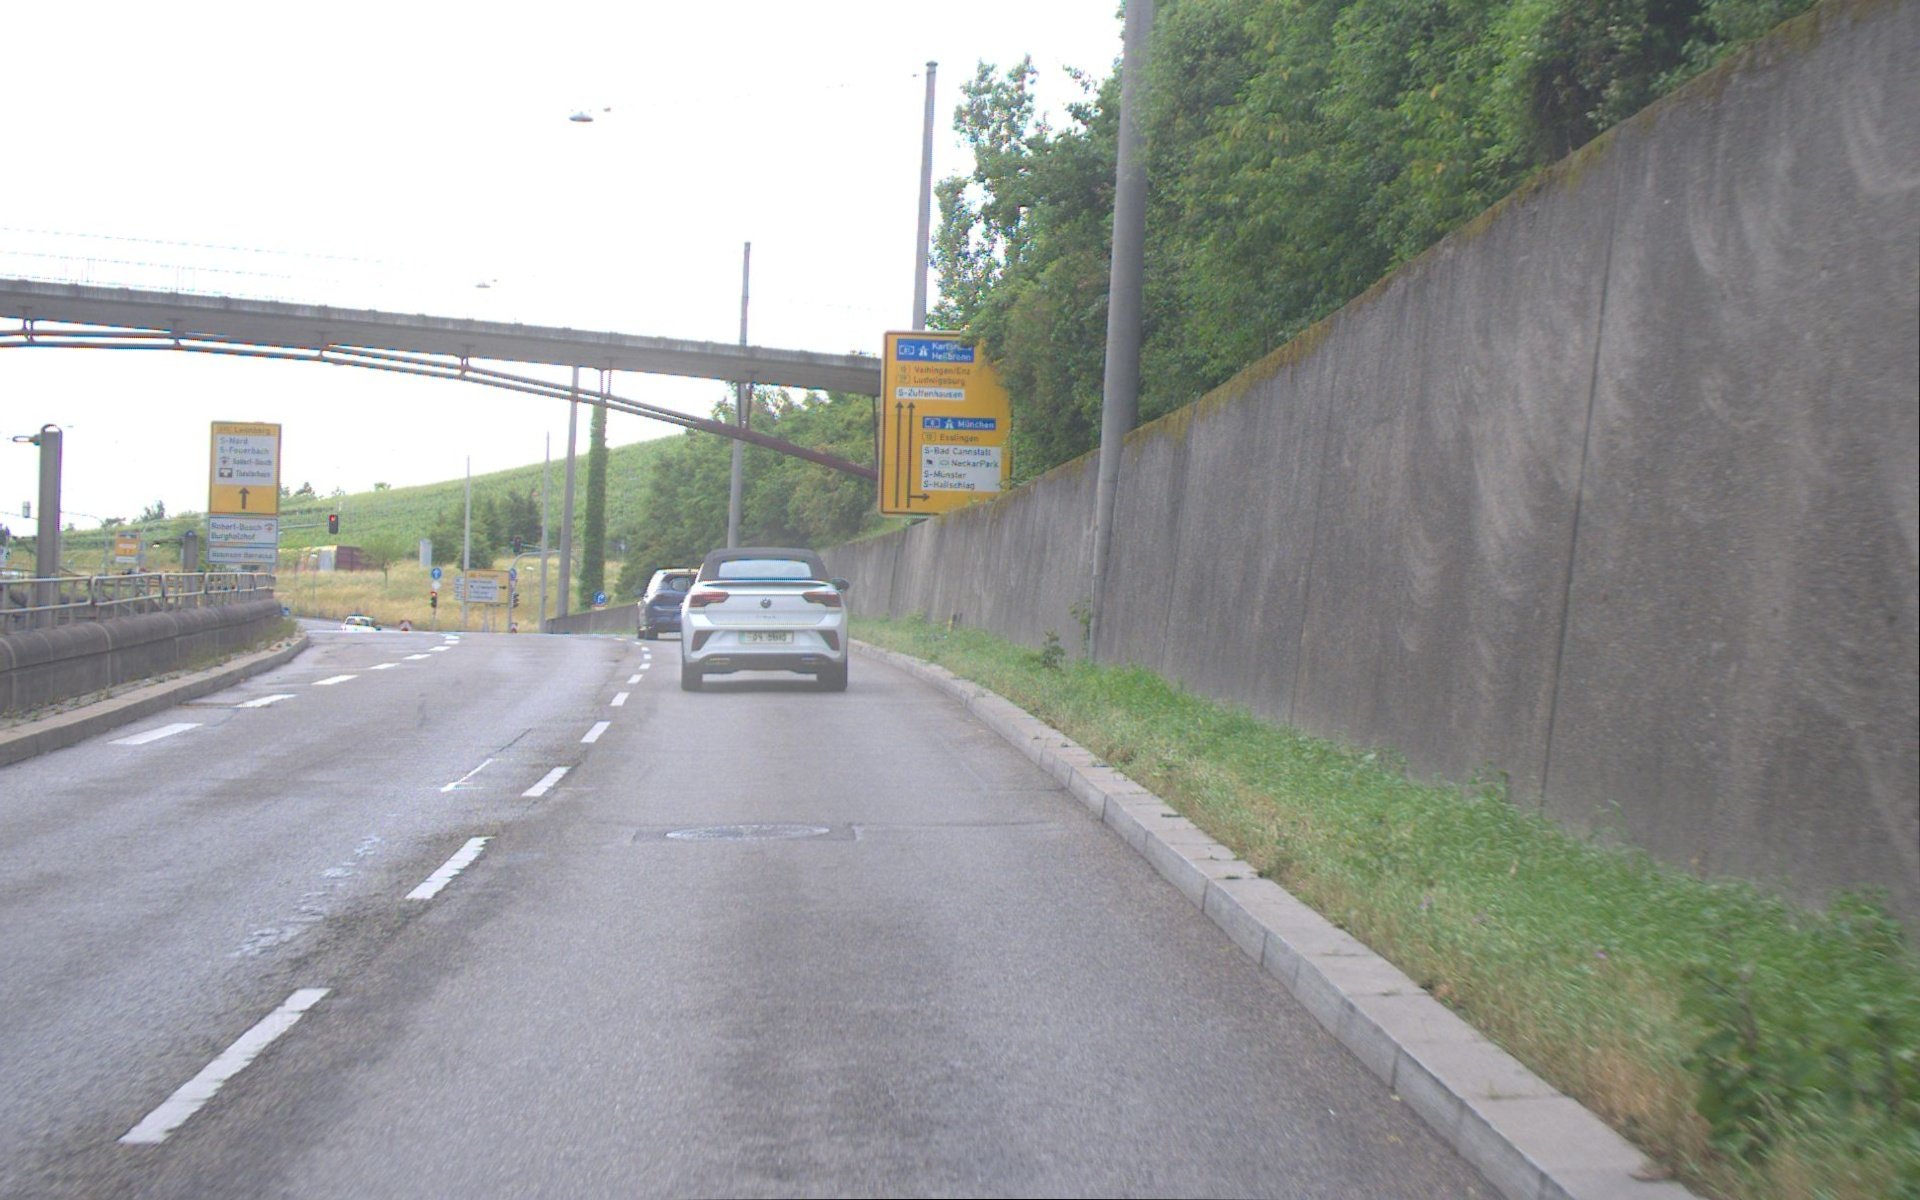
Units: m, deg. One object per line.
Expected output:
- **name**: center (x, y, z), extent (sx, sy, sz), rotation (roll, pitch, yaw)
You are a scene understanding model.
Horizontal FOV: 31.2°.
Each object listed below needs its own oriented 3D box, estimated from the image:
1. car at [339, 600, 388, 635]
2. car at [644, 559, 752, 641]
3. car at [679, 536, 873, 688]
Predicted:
- **car**: center (-29.055, 0.849, 167.521), extent (1.774, 1.514, 3.724), rotation (4, -2, -2)
- **car**: center (-5.351, -0.025, 70.667), extent (1.926, 1.594, 4.062), rotation (0, 1, 0)
- **car**: center (-2.080, 0.089, 37.825), extent (1.995, 1.573, 4.126), rotation (0, 1, -5)
